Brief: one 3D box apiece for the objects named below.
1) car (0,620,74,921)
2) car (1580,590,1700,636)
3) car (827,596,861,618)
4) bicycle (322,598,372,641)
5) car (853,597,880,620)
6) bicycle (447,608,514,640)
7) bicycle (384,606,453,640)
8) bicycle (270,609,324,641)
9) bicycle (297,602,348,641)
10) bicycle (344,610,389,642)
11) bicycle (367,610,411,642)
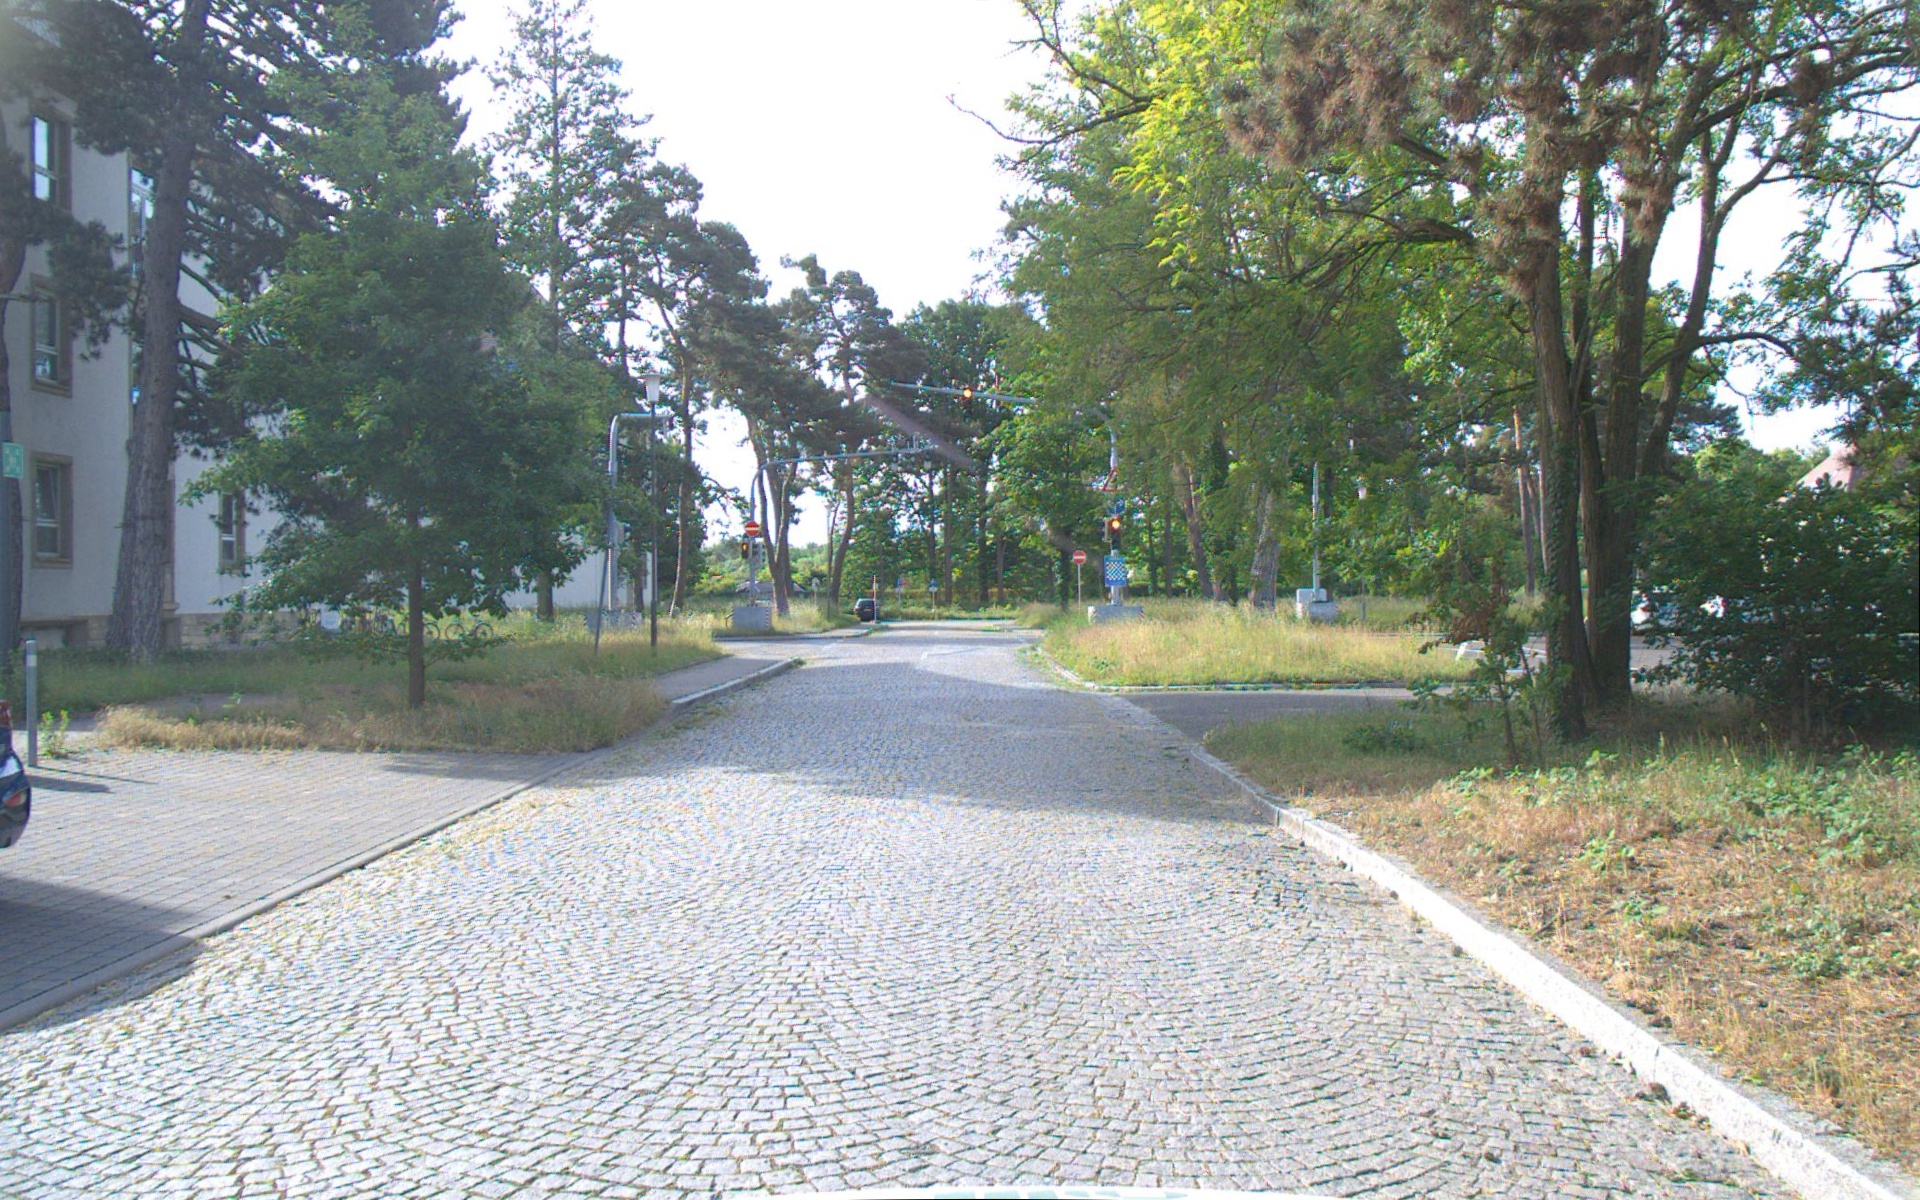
[{"bbox_3d":[-6.672,0.820,8.043,3.756,1.489,1.720,1,0,1],"label":"car"},{"bbox_3d":[20.805,0.381,50.802,1.696,1.335,4.329,-1,0,-4],"label":"car"},{"bbox_3d":[-8.348,0.498,118.981,1.745,1.516,3.758,-1,0,7],"label":"car"},{"bbox_3d":[-21.494,0.662,58.074,0.809,1.462,2.553,-1,0,0],"label":"bicycle"},{"bbox_3d":[-6.462,0.554,114.171,1.808,1.512,3.998,-1,0,-3],"label":"car"},{"bbox_3d":[-16.429,0.814,56.678,2.075,1.065,0.828,-1,0,-4],"label":"bicycle"},{"bbox_3d":[-18.512,0.786,56.559,2.075,1.128,0.828,-1,0,-4],"label":"bicycle"},{"bbox_3d":[-23.134,0.851,57.752,0.882,1.065,2.553,-1,0,0],"label":"bicycle"},{"bbox_3d":[-22.250,0.745,57.763,0.809,1.303,2.553,-1,0,0],"label":"bicycle"},{"bbox_3d":[-20.714,0.886,57.741,0.809,1.065,2.124,-1,0,-1],"label":"bicycle"},{"bbox_3d":[-19.947,0.897,57.793,0.809,1.065,2.124,-1,0,-1],"label":"bicycle"}]
